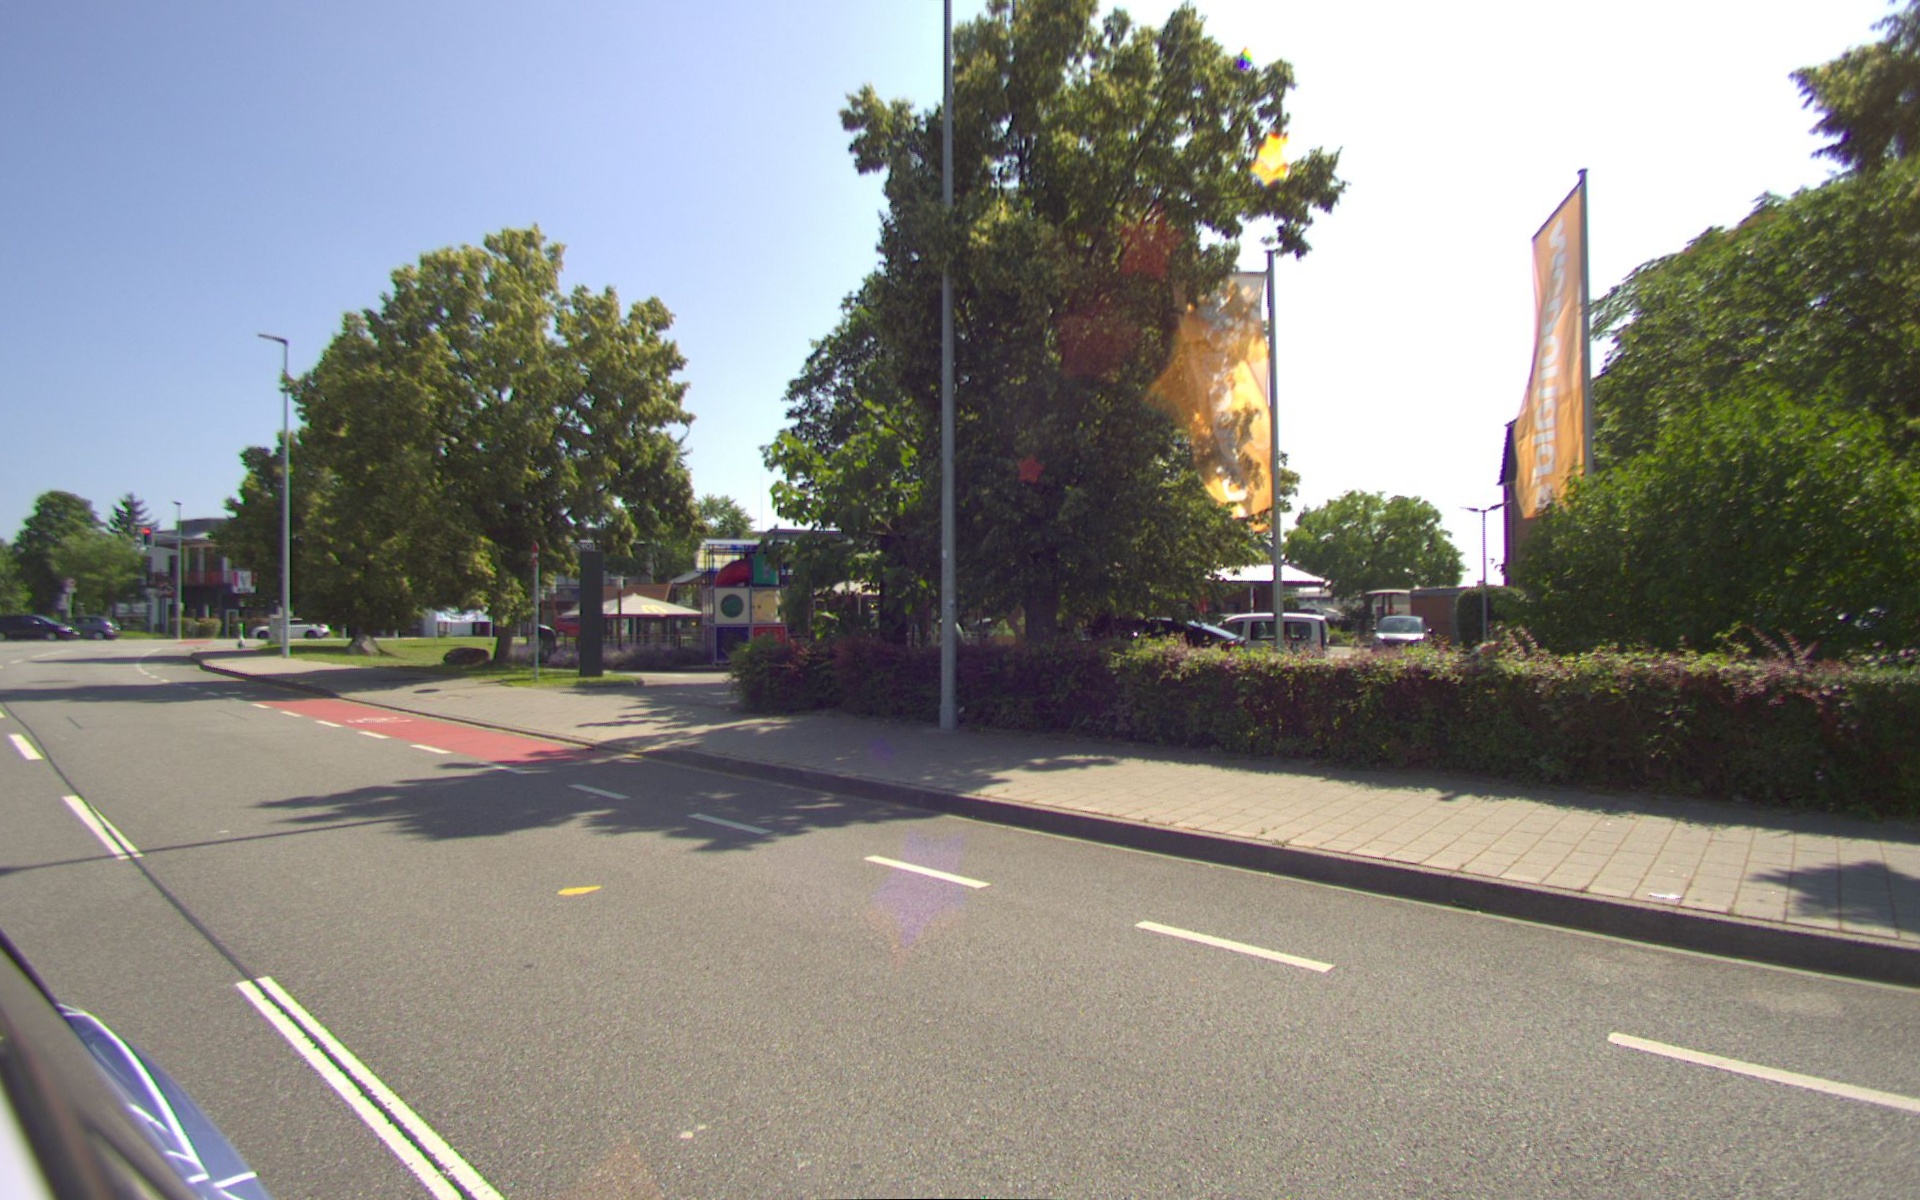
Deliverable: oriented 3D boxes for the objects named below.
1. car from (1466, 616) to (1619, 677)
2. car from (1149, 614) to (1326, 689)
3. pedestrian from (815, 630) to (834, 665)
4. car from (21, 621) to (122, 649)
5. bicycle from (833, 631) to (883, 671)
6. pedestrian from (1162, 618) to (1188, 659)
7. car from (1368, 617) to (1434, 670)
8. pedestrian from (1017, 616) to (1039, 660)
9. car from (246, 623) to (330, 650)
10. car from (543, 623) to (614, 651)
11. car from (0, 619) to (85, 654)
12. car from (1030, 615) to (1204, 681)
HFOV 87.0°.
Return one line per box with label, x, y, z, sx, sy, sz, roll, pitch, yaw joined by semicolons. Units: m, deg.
car;16.629;1.310;29.065;3.708;1.644;1.653;-1;-1;29
car;7.060;1.275;25.807;4.195;1.812;1.748;-1;-1;20
pedestrian;-5.141;1.796;38.345;0.543;1.219;0.594;-4;3;-14
car;-54.810;2.137;62.500;4.295;1.638;1.838;0;2;-20
bicycle;-3.354;1.668;33.224;1.585;1.195;0.310;-2;1;-17
pedestrian;8.900;1.592;41.824;0.830;1.650;0.780;-1;-2;31
car;14.127;1.349;32.314;1.614;1.543;3.578;-1;-1;28
pedestrian;2.509;1.397;37.393;0.594;1.579;0.566;-1;-1;29
car;-44.106;2.358;66.532;4.295;1.638;1.838;0;2;-20
car;-25.063;2.431;66.465;4.295;1.691;1.838;0;2;-21
car;-53.274;2.071;58.051;4.296;1.863;1.837;0;2;-17
car;3.821;1.139;24.659;3.970;1.505;1.645;-1;-1;20
